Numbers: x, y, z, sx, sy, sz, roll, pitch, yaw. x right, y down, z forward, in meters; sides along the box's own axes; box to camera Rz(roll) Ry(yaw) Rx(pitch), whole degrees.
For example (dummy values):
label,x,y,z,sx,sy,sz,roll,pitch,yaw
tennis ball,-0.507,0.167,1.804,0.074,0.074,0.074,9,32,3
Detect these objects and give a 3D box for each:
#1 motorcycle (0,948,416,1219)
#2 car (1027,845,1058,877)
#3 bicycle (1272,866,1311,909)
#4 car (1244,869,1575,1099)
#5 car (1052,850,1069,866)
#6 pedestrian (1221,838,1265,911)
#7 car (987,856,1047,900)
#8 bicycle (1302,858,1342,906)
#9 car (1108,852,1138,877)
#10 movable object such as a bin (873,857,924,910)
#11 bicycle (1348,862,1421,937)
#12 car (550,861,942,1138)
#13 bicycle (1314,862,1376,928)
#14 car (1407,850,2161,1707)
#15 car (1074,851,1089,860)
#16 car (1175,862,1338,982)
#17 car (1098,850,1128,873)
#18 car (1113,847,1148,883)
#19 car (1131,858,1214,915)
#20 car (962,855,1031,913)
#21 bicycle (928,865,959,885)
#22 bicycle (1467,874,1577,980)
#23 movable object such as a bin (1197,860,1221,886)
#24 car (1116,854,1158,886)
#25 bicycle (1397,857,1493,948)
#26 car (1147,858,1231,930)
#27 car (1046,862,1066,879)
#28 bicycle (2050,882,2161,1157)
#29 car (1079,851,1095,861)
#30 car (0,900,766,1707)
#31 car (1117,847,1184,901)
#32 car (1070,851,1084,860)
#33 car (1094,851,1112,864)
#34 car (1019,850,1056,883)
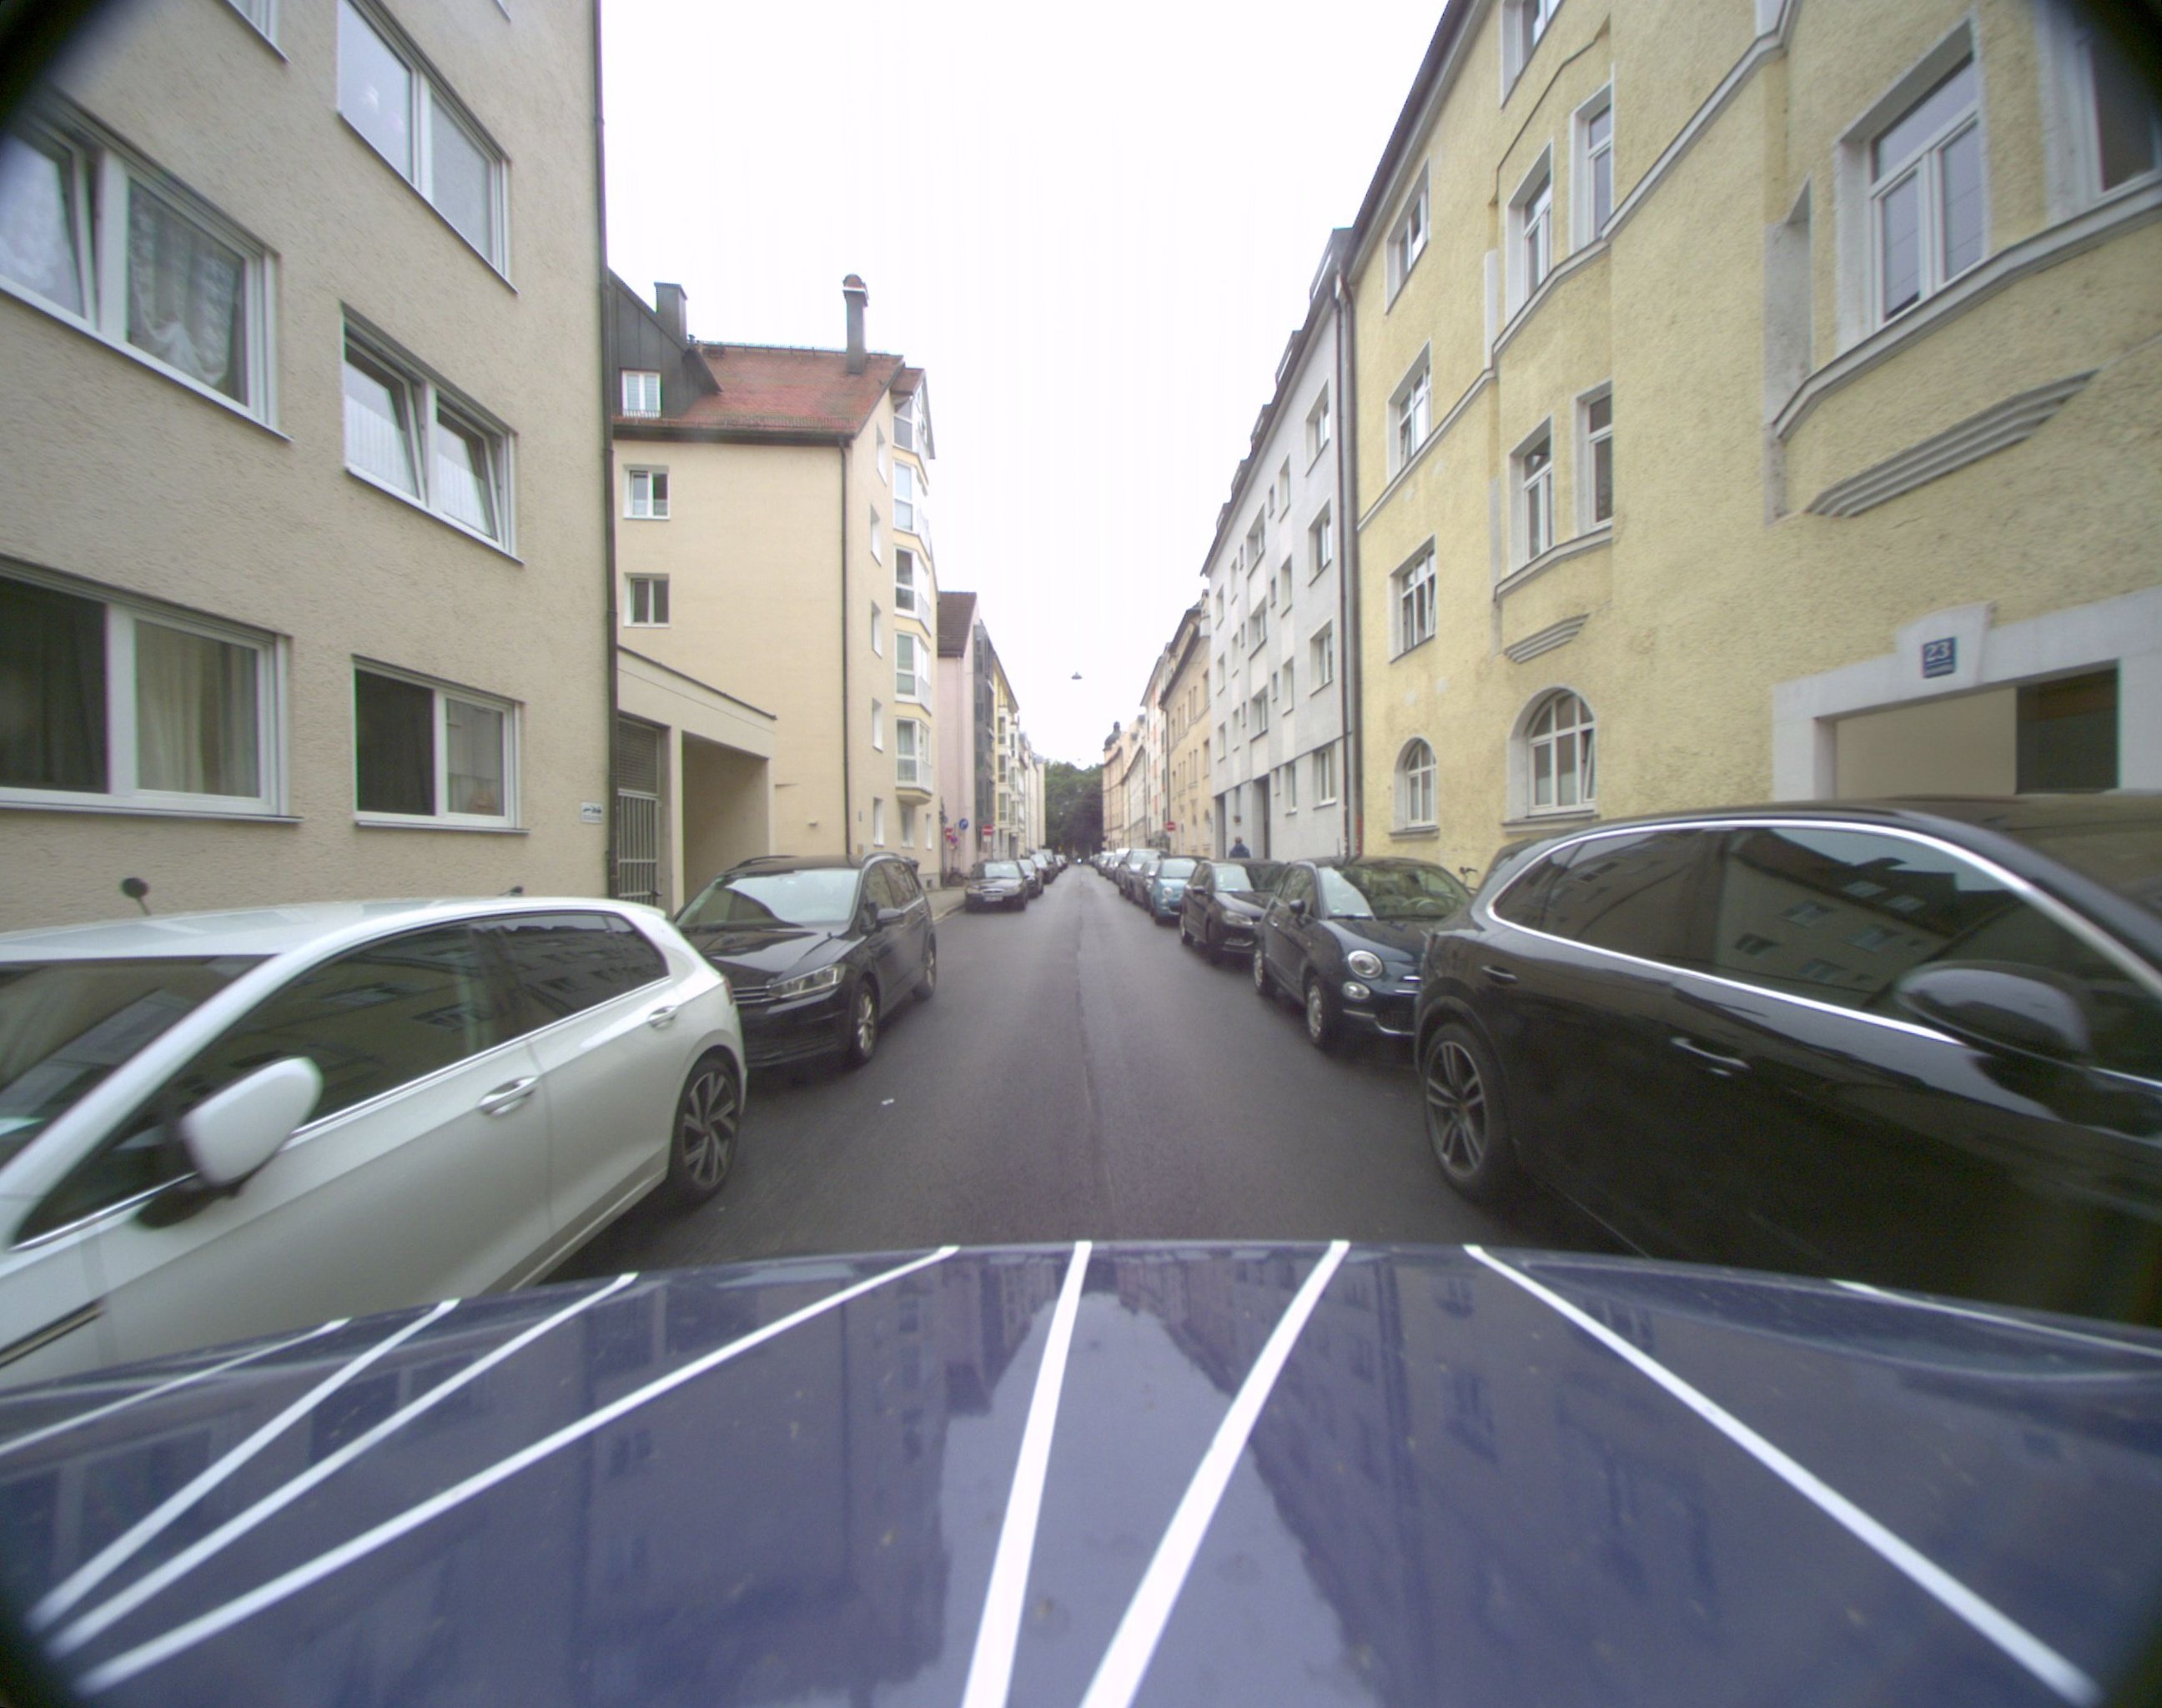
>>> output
label,x,y,z,sx,sy,sz,roll,pitch,yaw
motorcycle,-4.930,1.154,4.382,0.483,0.962,1.911,3,0,0
car,-2.589,0.434,52.590,1.878,2.002,5.105,-2,1,-1
bicycle,5.467,0.847,19.806,0.546,1.025,1.570,-1,1,0
car,2.565,0.905,6.828,1.566,1.452,3.475,0,0,2
car,-2.299,0.419,85.714,1.739,1.743,3.685,-2,0,-1
pedestrian,4.068,0.505,19.198,0.841,1.754,1.067,-2,1,0
car,-2.320,0.829,28.641,1.837,1.398,4.410,-2,1,0
bicycle,5.527,0.627,17.466,0.396,1.025,1.570,-1,1,0
car,2.540,0.619,46.628,1.676,1.467,4.112,1,0,1
movable object such as a bin,-5.196,0.811,21.749,1.035,1.415,1.586,1,1,0
bicycle,5.429,0.775,13.709,0.594,1.226,1.736,-1,1,0
car,-2.482,0.930,6.894,1.716,1.599,4.243,-2,1,-2
bicycle,5.350,0.803,15.481,0.638,1.226,1.736,-1,1,0
car,2.457,0.822,1.465,1.883,1.650,4.415,0,0,2
car,0.141,0.269,128.586,1.800,1.501,3.995,1,0,-11
car,2.469,0.888,11.562,1.567,1.452,3.763,0,0,-1
car,2.324,0.562,56.275,1.786,1.596,4.307,1,0,-3
car,2.664,0.542,41.609,1.728,1.779,4.248,1,1,2
car,2.574,0.880,22.358,1.816,1.378,4.250,1,1,-1
car,-2.461,0.826,23.134,1.721,1.463,4.530,-2,1,-3
bicycle,-6.911,1.041,38.211,1.452,0.942,0.552,-1,0,-4
bicycle,5.598,0.878,9.750,0.440,1.183,1.632,-1,1,0
movable object such as a bin,5.393,0.802,32.089,0.809,1.045,0.622,-5,1,0
car,2.616,0.750,36.106,1.656,1.403,3.735,1,0,0
bicycle,5.449,0.684,11.497,0.594,1.226,1.736,-1,1,0
car,2.410,0.852,17.621,1.566,1.452,3.404,0,0,2
car,-2.367,1.502,71.123,1.750,1.433,4.227,-2,0,-4
bicycle,5.427,0.807,3.251,0.536,1.271,1.551,-3,1,-1
car,0.953,0.327,124.399,1.800,1.501,3.995,1,0,-11
car,-2.519,1.034,1.933,1.716,1.477,4.243,-2,1,-2
car,2.406,0.635,27.526,1.868,1.760,4.734,1,1,-1
car,-0.739,0.252,132.678,1.800,1.501,3.995,1,0,-11
car,2.580,0.378,90.421,1.951,1.470,3.715,1,0,0
car,-2.345,0.638,41.904,1.837,1.612,4.410,-2,1,-1
